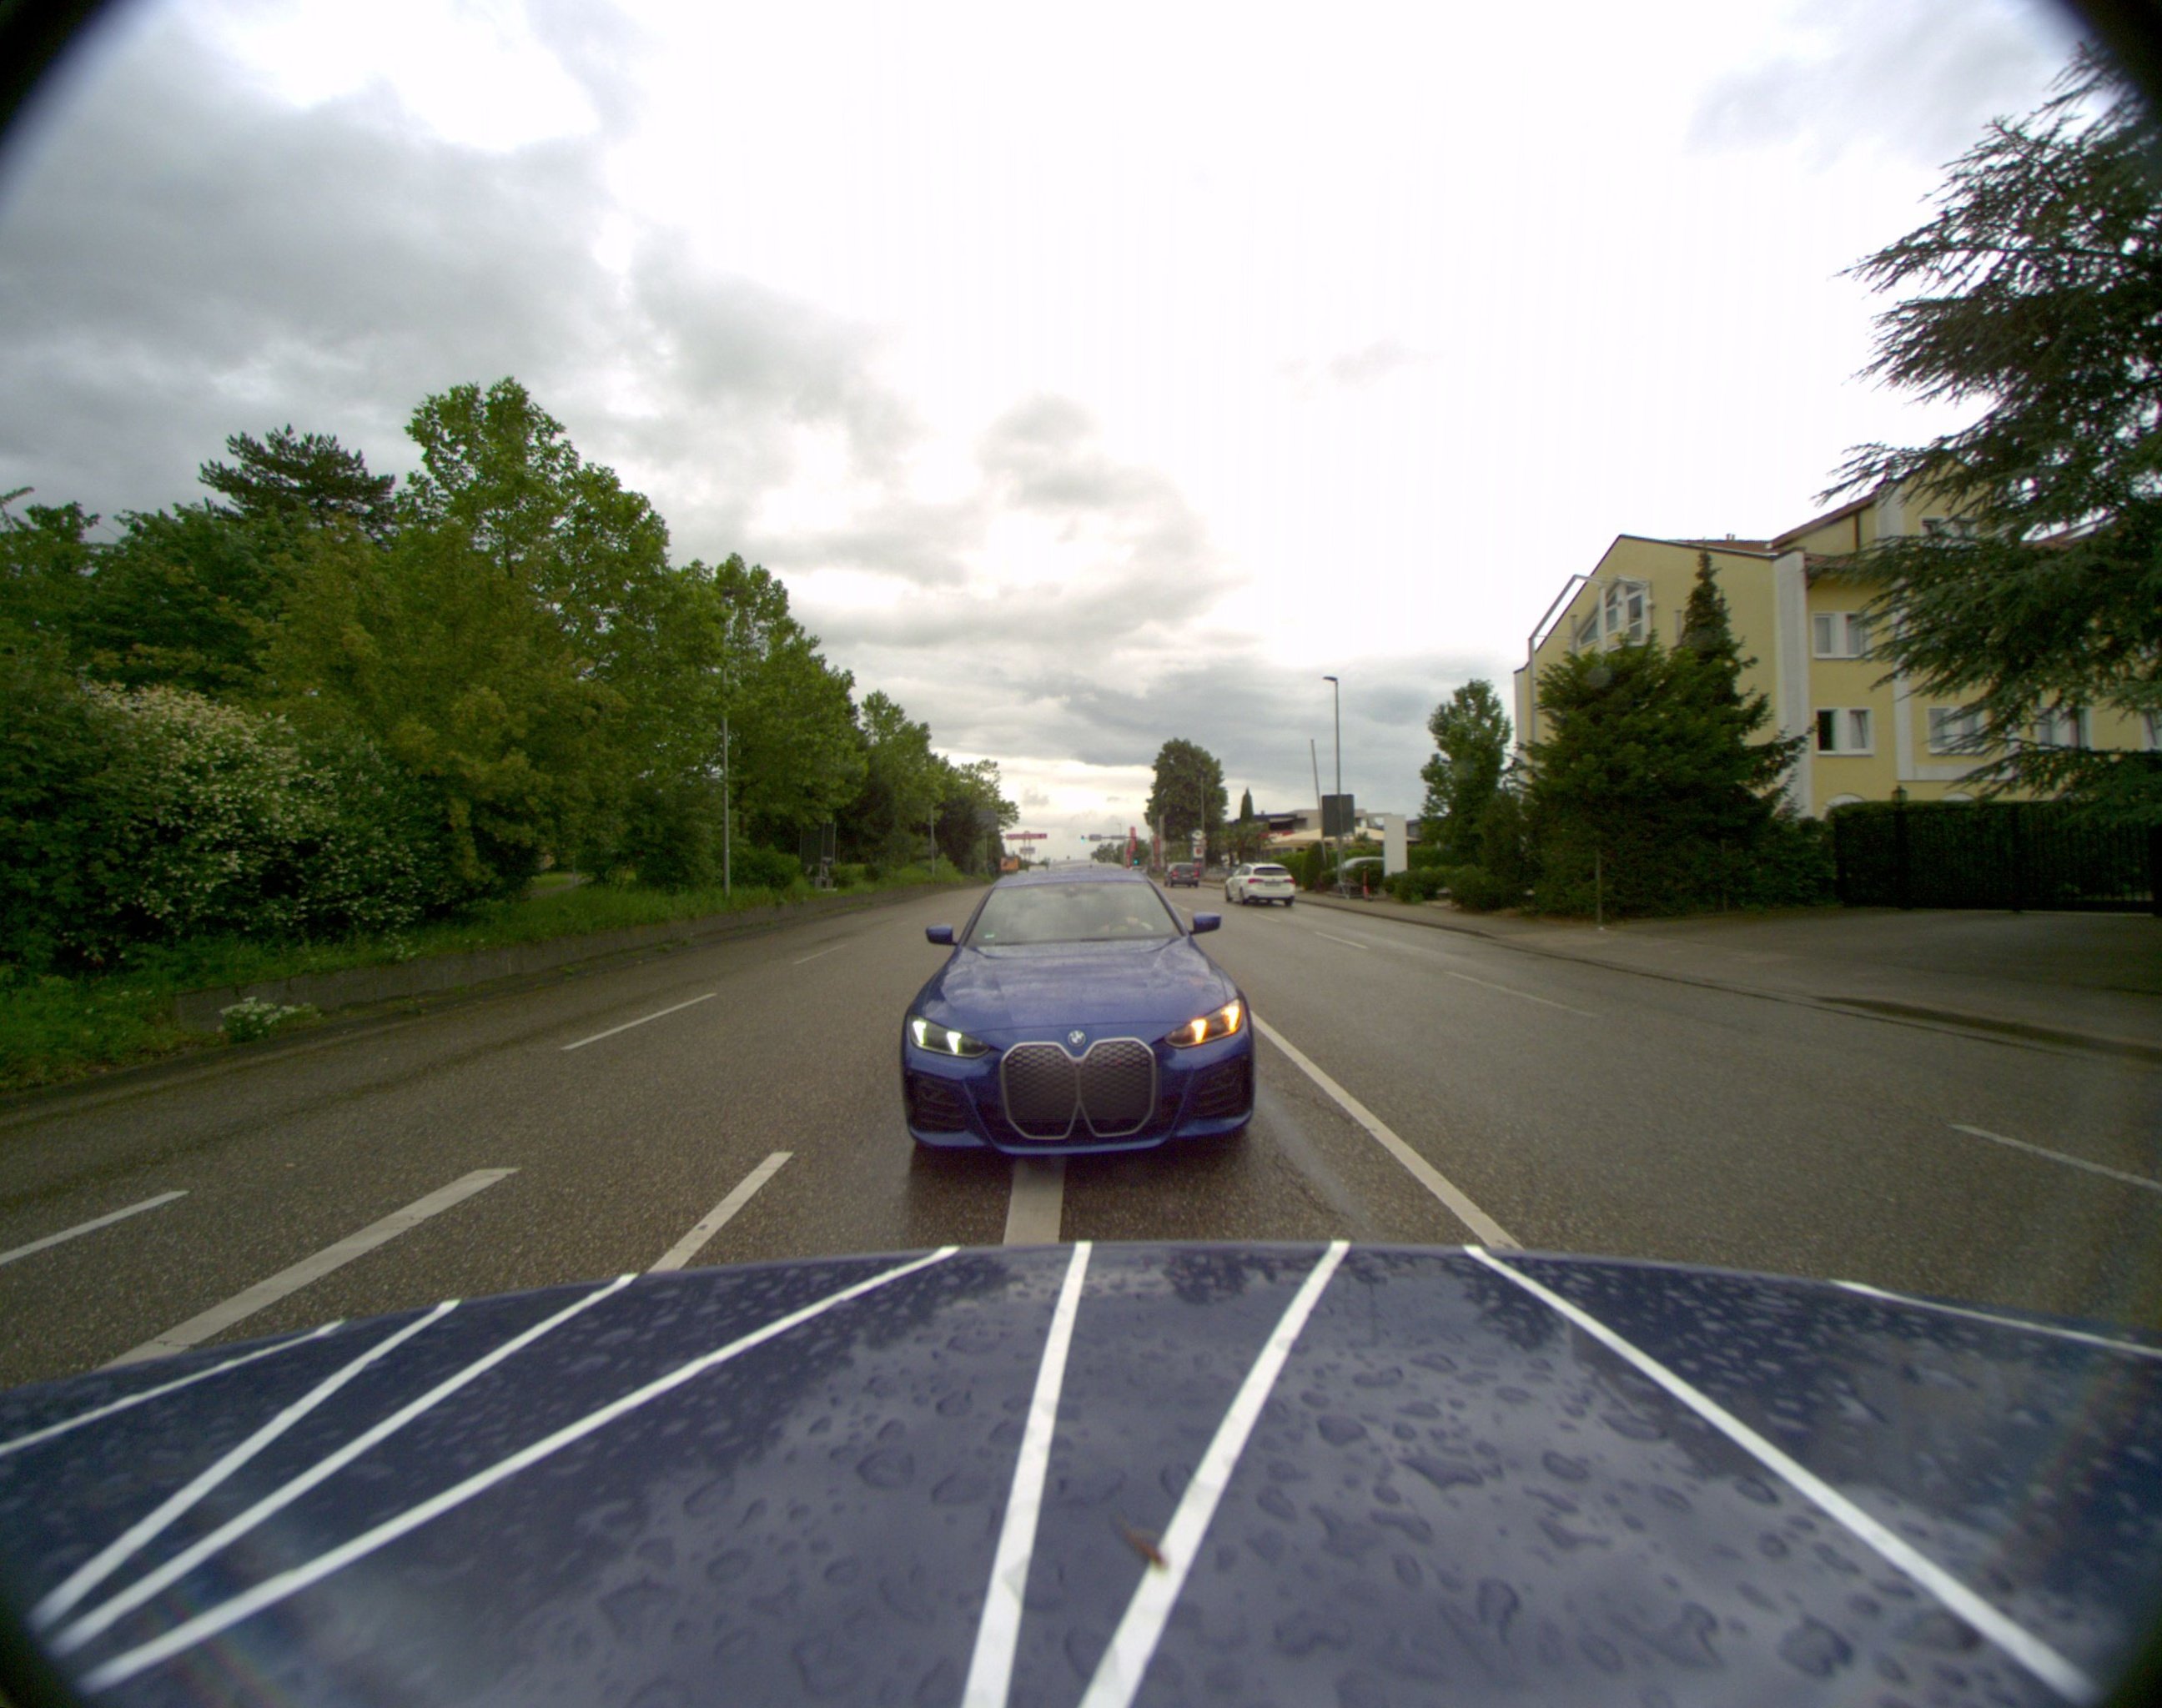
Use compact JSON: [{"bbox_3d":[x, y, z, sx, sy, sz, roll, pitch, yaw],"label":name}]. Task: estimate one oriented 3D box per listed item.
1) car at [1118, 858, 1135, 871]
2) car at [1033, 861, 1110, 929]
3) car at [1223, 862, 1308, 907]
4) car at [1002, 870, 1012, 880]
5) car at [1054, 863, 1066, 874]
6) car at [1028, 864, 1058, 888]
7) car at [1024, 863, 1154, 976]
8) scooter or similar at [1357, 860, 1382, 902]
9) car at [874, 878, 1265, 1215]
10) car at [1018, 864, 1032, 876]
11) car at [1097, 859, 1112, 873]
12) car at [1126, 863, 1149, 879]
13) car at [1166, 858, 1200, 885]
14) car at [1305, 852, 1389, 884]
[{"bbox_3d":[5.408,1.283,91.115,1.700,1.467,3.779,-1,0,-2],"label":"car"},{"bbox_3d":[-0.206,0.988,20.058,1.807,1.543,4.000,-1,0,0],"label":"car"},{"bbox_3d":[6.581,1.039,27.583,1.973,1.446,4.308,-1,0,-1],"label":"car"},{"bbox_3d":[-15.028,4.210,154.002,1.812,1.718,3.998,-3,1,-3],"label":"car"},{"bbox_3d":[-3.375,2.382,121.721,1.836,1.565,3.512,-3,1,-1],"label":"car"},{"bbox_3d":[-2.484,1.426,50.498,1.775,1.448,4.000,-1,0,1],"label":"car"},{"bbox_3d":[0.129,0.949,12.814,1.807,1.543,4.223,-1,0,0],"label":"car"},{"bbox_3d":[10.060,0.919,26.536,0.505,1.398,1.882,0,0,11],"label":"scooter or similar"},{"bbox_3d":[-0.052,0.969,5.695,1.803,1.399,4.272,-1,0,0],"label":"car"},{"bbox_3d":[-7.723,2.201,104.807,1.705,1.612,3.841,-1,0,-2],"label":"car"},{"bbox_3d":[2.584,1.296,84.636,1.643,1.451,3.518,-1,0,0],"label":"car"},{"bbox_3d":[5.639,1.697,75.992,1.790,1.451,4.431,-1,0,-3],"label":"car"},{"bbox_3d":[6.487,1.099,48.720,1.703,1.590,3.550,-1,0,0],"label":"car"},{"bbox_3d":[14.046,0.728,40.310,3.930,1.642,1.719,-1,0,6],"label":"car"}]
